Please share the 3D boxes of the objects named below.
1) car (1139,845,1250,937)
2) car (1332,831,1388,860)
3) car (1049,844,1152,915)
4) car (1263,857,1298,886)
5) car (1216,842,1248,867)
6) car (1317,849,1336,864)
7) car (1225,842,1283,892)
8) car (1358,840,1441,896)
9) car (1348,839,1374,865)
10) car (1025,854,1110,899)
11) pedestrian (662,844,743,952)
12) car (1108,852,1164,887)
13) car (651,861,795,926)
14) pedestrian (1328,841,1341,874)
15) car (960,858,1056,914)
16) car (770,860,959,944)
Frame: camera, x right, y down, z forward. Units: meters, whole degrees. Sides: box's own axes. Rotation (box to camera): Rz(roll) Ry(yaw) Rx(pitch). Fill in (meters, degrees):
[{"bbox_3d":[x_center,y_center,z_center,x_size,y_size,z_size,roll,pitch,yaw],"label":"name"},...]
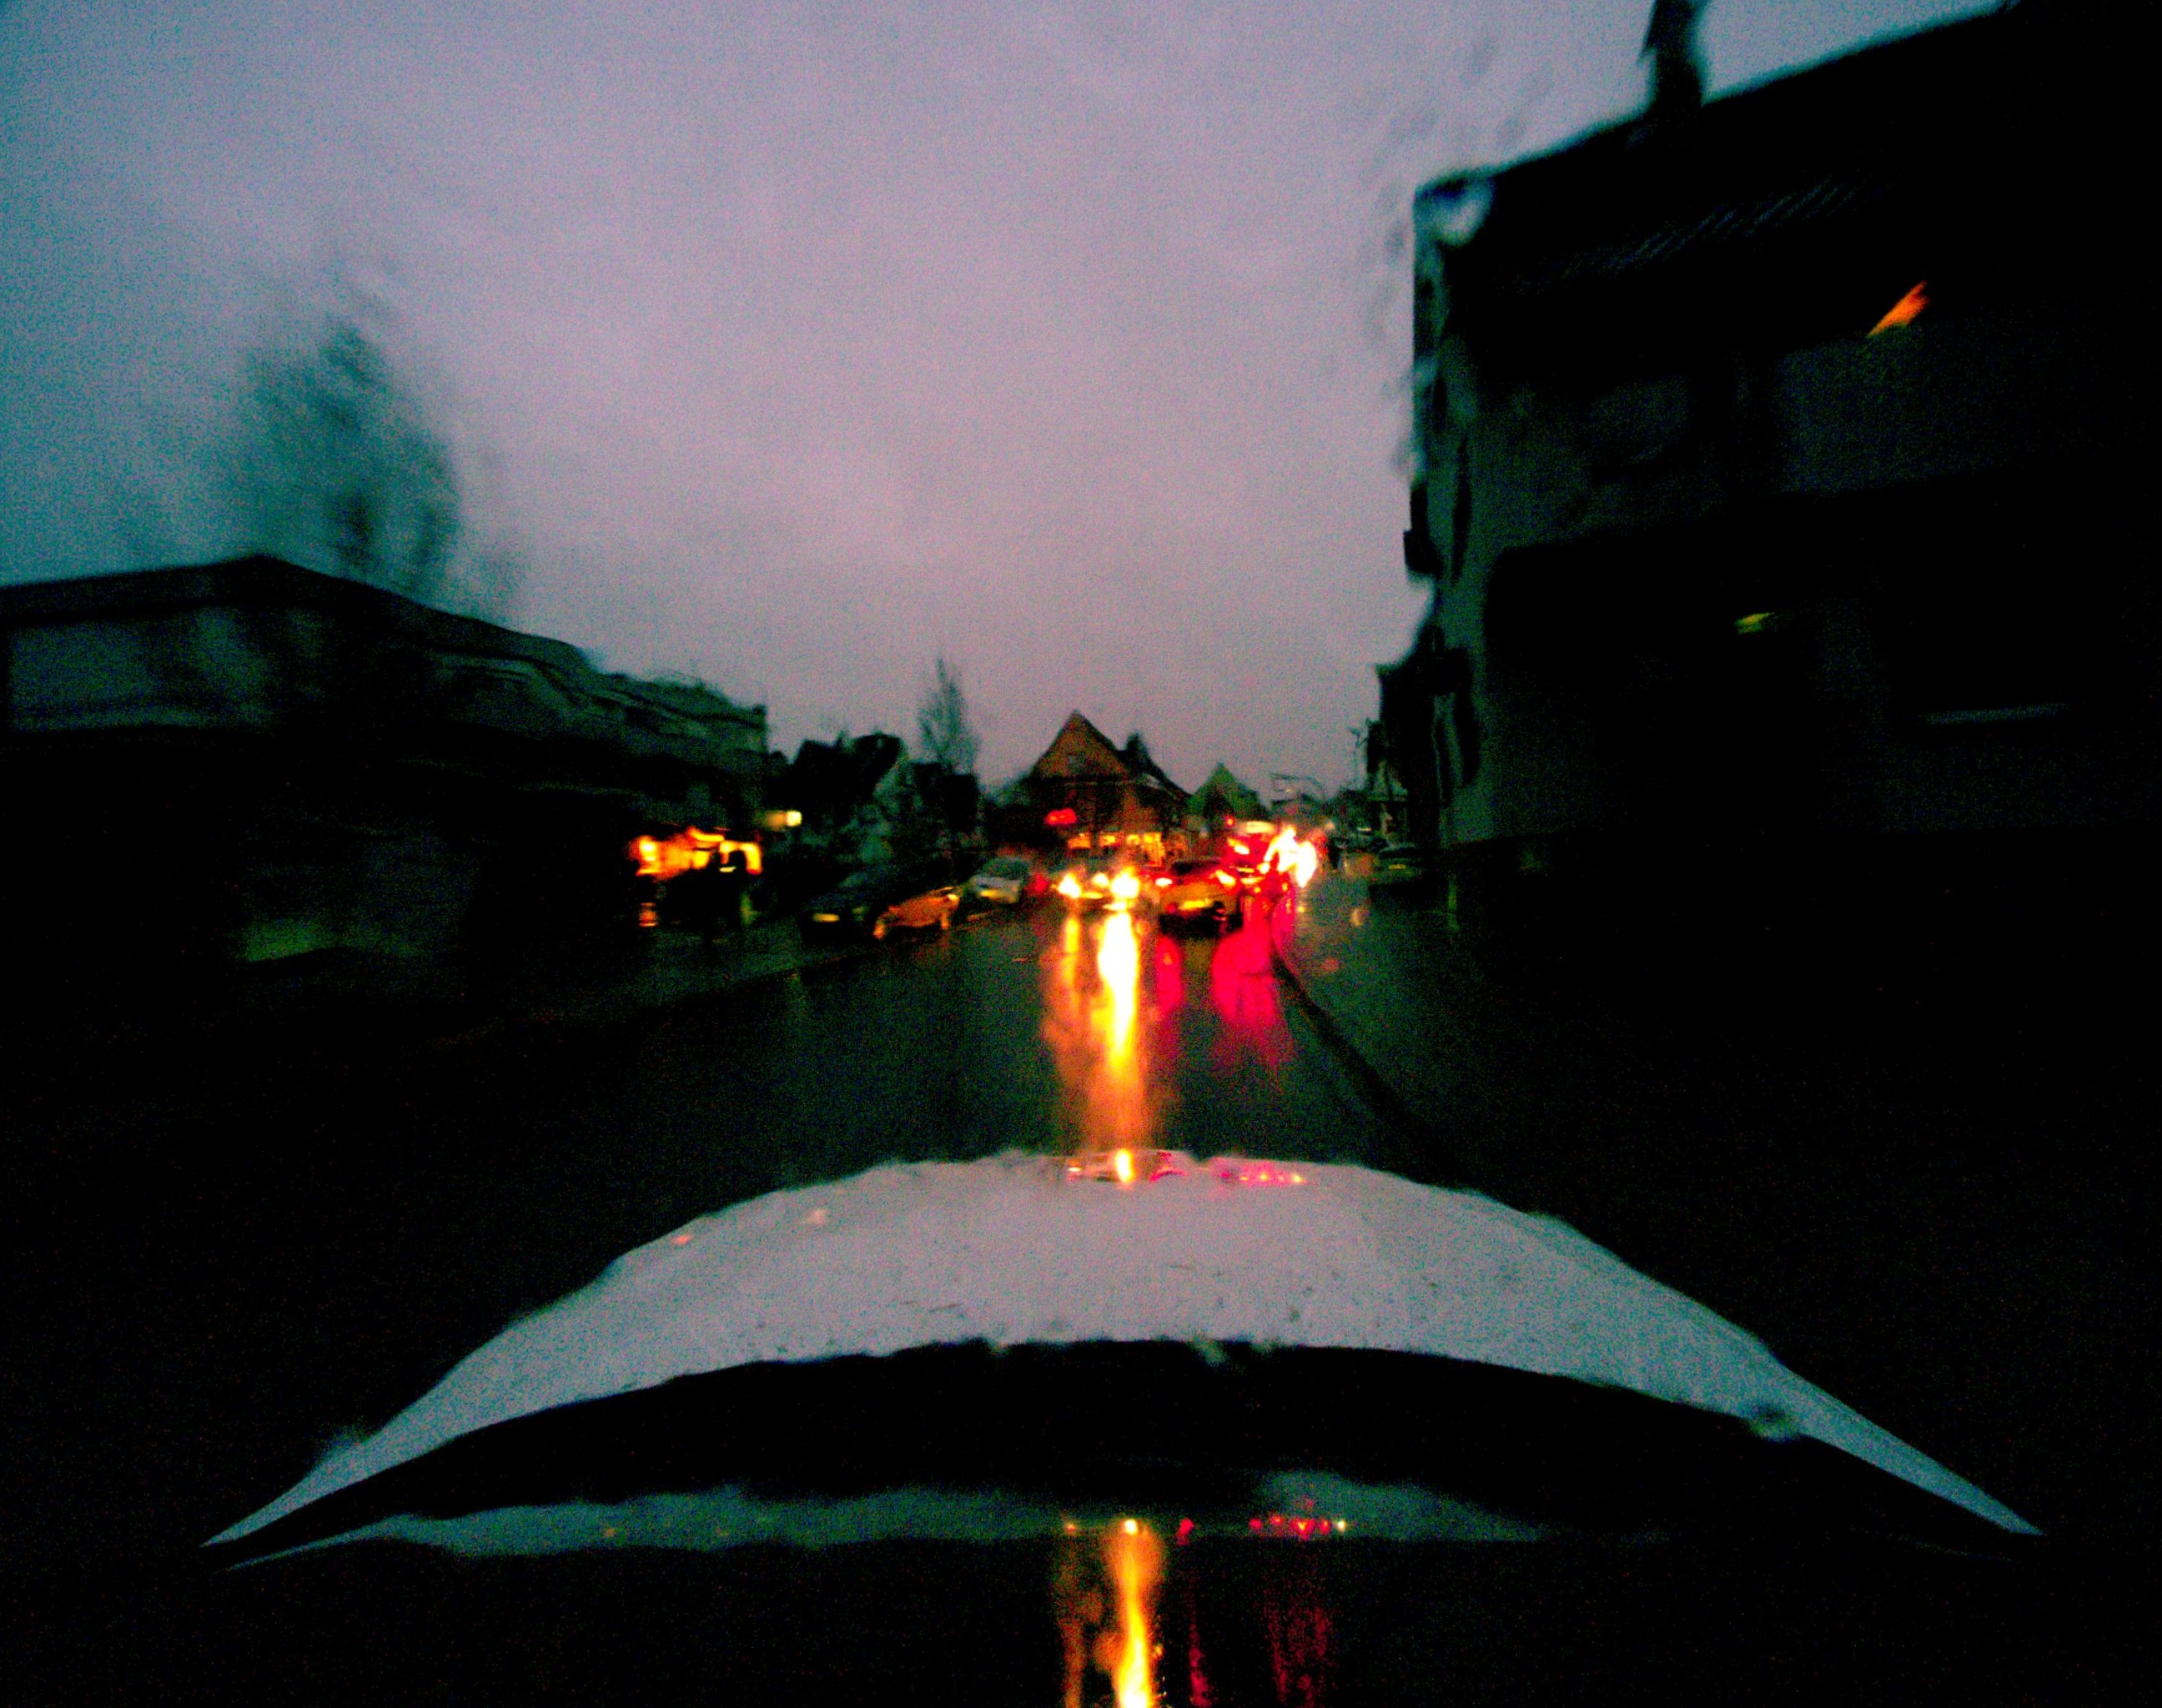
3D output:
[{"bbox_3d":[2.720,0.736,18.585,1.979,1.795,4.666,-2,0,14],"label":"car"},{"bbox_3d":[20.034,-0.566,58.444,3.665,2.014,1.698,-1,-1,21],"label":"car"},{"bbox_3d":[0.704,0.682,24.043,2.127,1.860,4.758,-1,0,12],"label":"car"},{"bbox_3d":[10.511,0.888,42.792,1.637,1.442,3.882,-2,-1,16],"label":"car"},{"bbox_3d":[12.869,0.040,69.297,1.977,2.014,4.383,-1,0,19],"label":"car"},{"bbox_3d":[23.710,0.227,78.461,1.522,1.245,3.665,-7,-1,18],"label":"car"},{"bbox_3d":[6.359,0.452,29.594,1.784,1.662,4.016,-1,-1,16],"label":"car"},{"bbox_3d":[9.801,0.360,24.836,1.866,1.466,4.570,-3,-1,27],"label":"car"},{"bbox_3d":[22.998,-0.187,67.000,1.629,2.013,4.016,-3,0,15],"label":"car"},{"bbox_3d":[-0.400,0.752,29.831,1.734,1.516,4.362,0,0,18],"label":"car"},{"bbox_3d":[-6.797,0.770,14.671,0.748,1.866,1.065,-2,-1,17],"label":"pedestrian"},{"bbox_3d":[2.611,0.666,37.773,1.657,1.516,4.018,0,0,17],"label":"car"},{"bbox_3d":[-9.321,1.018,21.055,4.036,1.477,1.751,-3,-1,40],"label":"car"},{"bbox_3d":[14.800,0.225,47.545,0.657,1.888,0.829,-1,-1,24],"label":"pedestrian"},{"bbox_3d":[-2.106,0.894,24.512,1.680,1.516,3.788,0,0,14],"label":"car"},{"bbox_3d":[-4.263,0.877,16.883,1.734,1.472,4.477,-1,0,15],"label":"car"}]
